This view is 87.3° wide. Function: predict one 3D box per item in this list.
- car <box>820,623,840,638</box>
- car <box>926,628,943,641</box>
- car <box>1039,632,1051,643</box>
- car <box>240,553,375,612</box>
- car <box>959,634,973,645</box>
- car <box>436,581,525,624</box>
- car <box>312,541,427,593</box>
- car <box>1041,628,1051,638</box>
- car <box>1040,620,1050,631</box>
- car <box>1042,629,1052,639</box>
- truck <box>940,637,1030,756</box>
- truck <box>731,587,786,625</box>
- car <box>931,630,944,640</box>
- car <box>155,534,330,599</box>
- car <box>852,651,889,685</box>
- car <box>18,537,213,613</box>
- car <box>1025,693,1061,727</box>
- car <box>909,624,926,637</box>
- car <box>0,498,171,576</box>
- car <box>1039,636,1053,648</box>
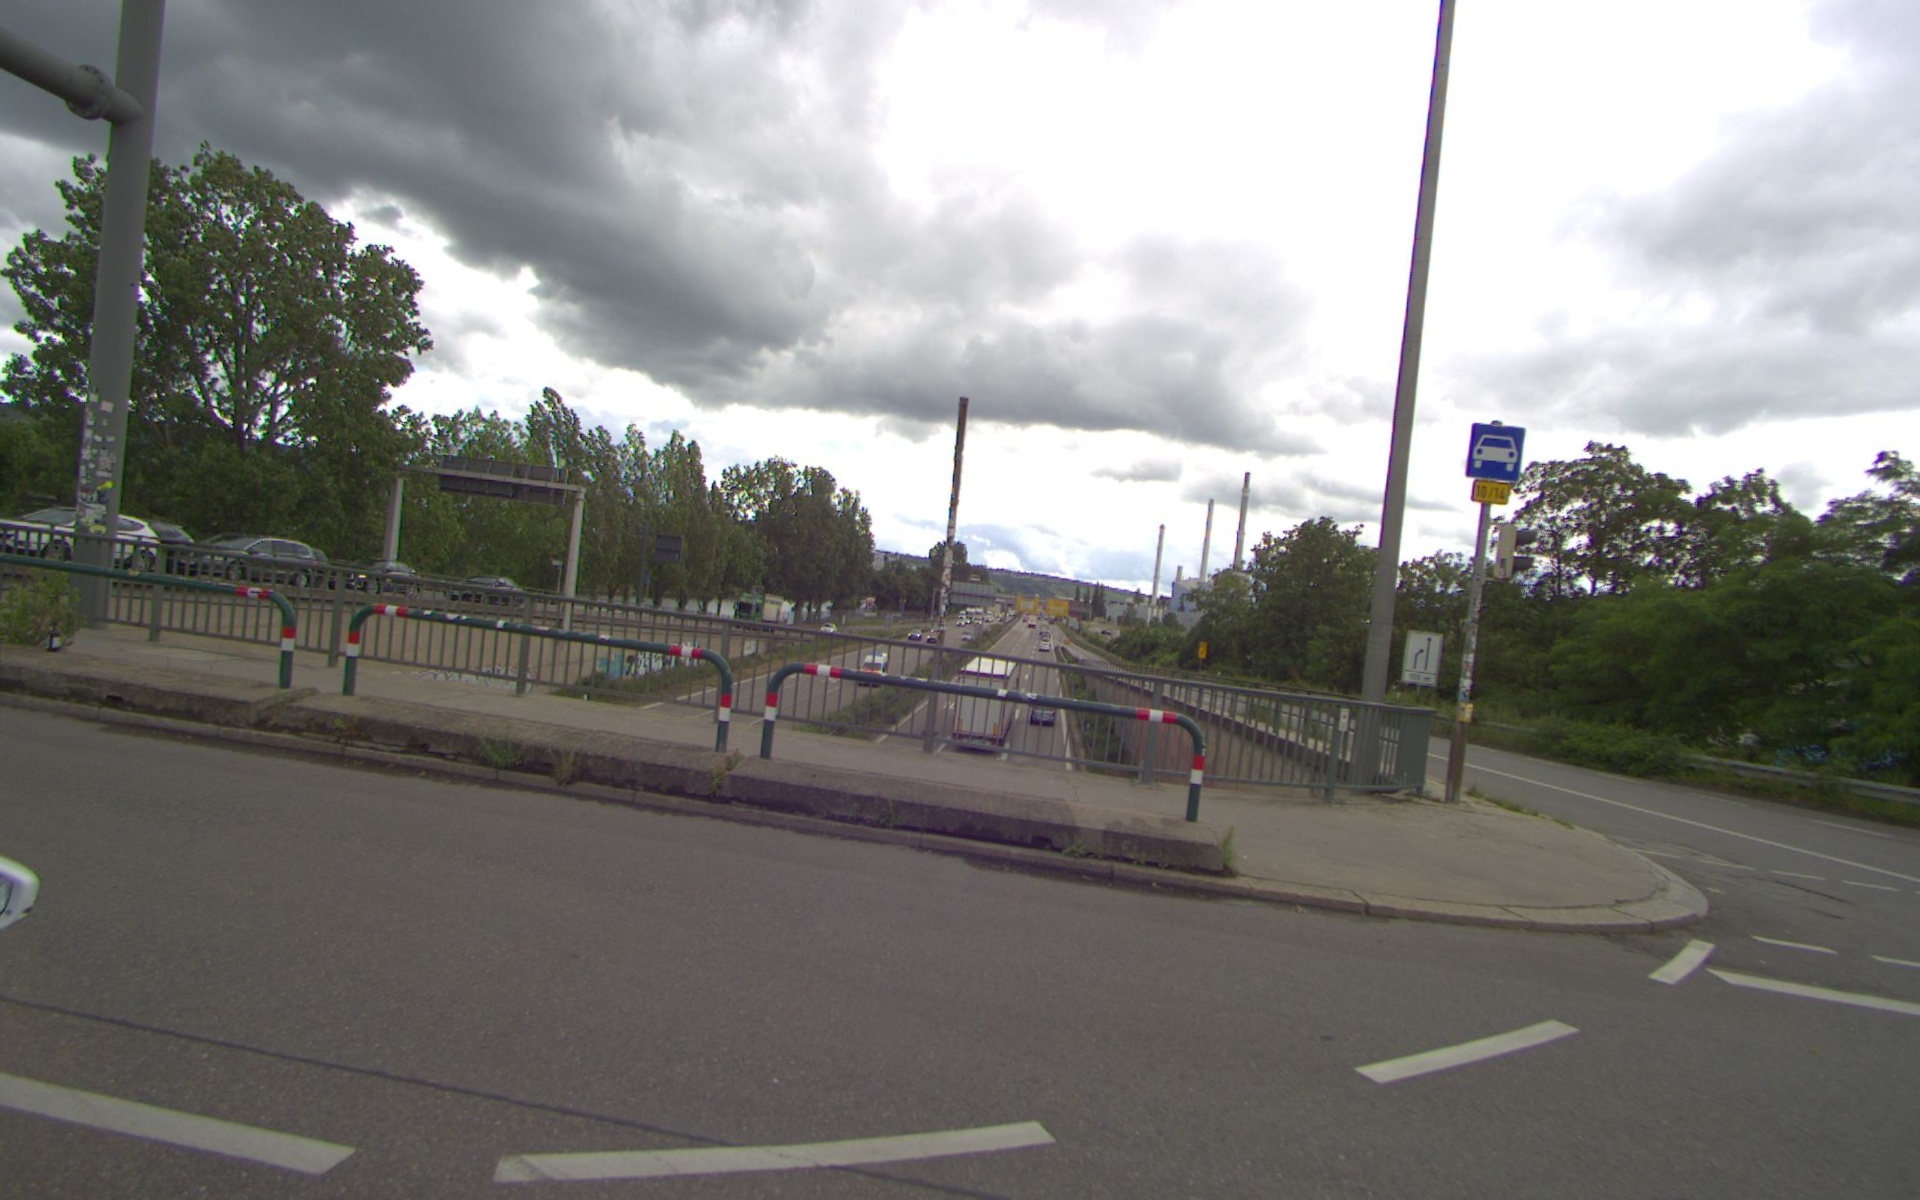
[{"bbox_3d":[-18.036,4.233,140.139,1.963,1.692,3.766,7,3,2],"label":"car"},{"bbox_3d":[-3.873,5.208,152.779,1.962,1.727,4.083,6,-2,5],"label":"car"},{"bbox_3d":[16.336,7.172,192.560,1.962,1.757,3.999,6,-2,2],"label":"car"},{"bbox_3d":[-26.664,-0.748,41.315,2.171,2.041,4.541,7,3,6],"label":"car"},{"bbox_3d":[1.010,6.715,171.850,1.962,1.727,4.083,6,-2,5],"label":"car"},{"bbox_3d":[-23.157,0.087,48.779,1.962,1.640,3.995,7,3,6],"label":"car"},{"bbox_3d":[-24.075,-1.309,41.203,1.962,1.637,4.004,6,-2,6],"label":"car"},{"bbox_3d":[19.956,7.658,234.822,1.962,2.037,4.003,6,-1,2],"label":"car"},{"bbox_3d":[21.268,6.452,252.803,1.962,2.653,5.403,6,-1,2],"label":"car"},{"bbox_3d":[18.739,7.343,216.976,1.962,1.757,3.999,6,-2,2],"label":"car"},{"bbox_3d":[1.665,5.025,56.310,3.520,4.547,13.168,7,3,6],"label":"truck"},{"bbox_3d":[-21.411,0.644,107.682,2.729,3.553,9.260,7,0,6],"label":"truck"},{"bbox_3d":[-4.145,6.430,185.713,1.962,1.727,4.083,6,-2,5],"label":"car"},{"bbox_3d":[-24.418,-1.077,34.518,1.962,1.638,4.968,6,-2,6],"label":"car"},{"bbox_3d":[-7.093,5.375,79.882,1.962,2.399,4.594,5,-1,5],"label":"car"},{"bbox_3d":[-27.374,-0.836,32.840,2.171,2.041,4.541,7,3,6],"label":"car"},{"bbox_3d":[5.487,7.223,66.122,1.962,1.757,4.001,5,-2,8],"label":"car"},{"bbox_3d":[-6.511,4.728,156.017,1.962,1.727,4.083,6,-2,5],"label":"car"},{"bbox_3d":[-25.018,-1.746,28.215,1.962,1.638,4.347,6,-2,7],"label":"car"},{"bbox_3d":[14.144,6.954,165.387,1.962,1.757,4.000,6,-2,3],"label":"car"}]
